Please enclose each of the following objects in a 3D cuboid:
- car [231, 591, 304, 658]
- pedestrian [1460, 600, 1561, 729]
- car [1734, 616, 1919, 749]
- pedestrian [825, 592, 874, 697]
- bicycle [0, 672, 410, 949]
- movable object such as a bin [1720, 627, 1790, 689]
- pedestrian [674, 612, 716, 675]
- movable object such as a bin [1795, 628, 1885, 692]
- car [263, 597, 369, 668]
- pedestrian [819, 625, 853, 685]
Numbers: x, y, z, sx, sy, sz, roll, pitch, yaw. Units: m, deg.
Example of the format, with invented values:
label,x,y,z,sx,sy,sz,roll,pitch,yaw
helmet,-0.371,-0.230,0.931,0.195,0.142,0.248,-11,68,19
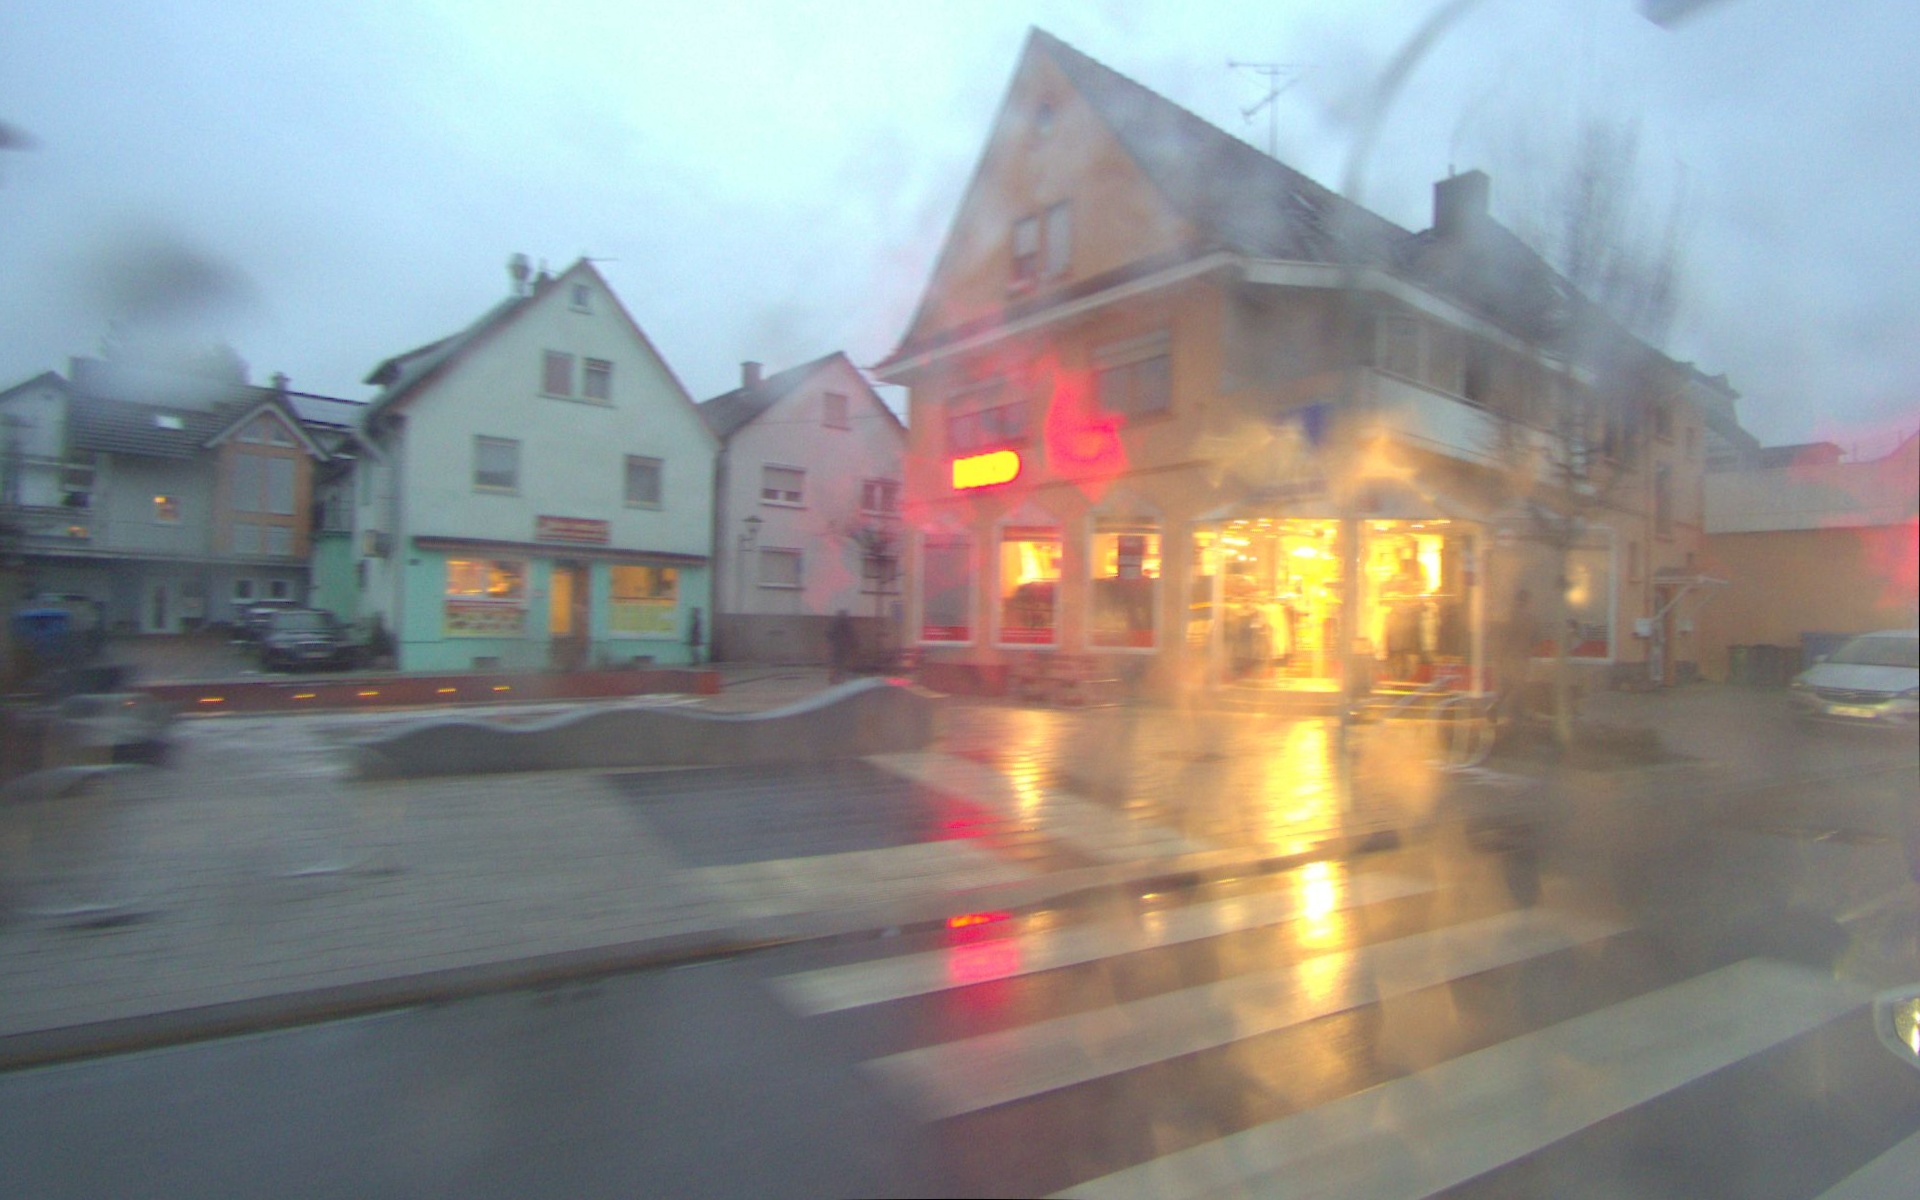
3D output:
label,x,y,z,sx,sy,sz,roll,pitch,yaw
car,-20.961,0.696,30.363,1.556,1.882,3.274,1,0,-39
pedestrian,7.594,0.862,13.860,1.087,1.680,0.820,1,1,-37
car,13.306,1.068,14.314,4.565,1.579,1.984,1,0,-30
pedestrian,-2.227,0.873,20.134,0.726,2.040,0.821,1,1,-23
bicycle,-3.697,0.948,4.902,0.321,1.075,1.734,-6,-4,43
movable object such as a bin,18.599,1.332,23.514,0.844,1.372,1.140,1,0,-40
pedestrian,-7.528,1.239,28.500,0.835,1.738,0.908,1,-3,-43
movable object such as a bin,19.511,1.331,22.283,0.881,1.371,1.330,2,-4,-39
car,-16.320,0.780,25.365,1.967,1.624,3.958,1,-1,-37
pedestrian,-2.749,1.202,22.252,0.674,1.262,0.825,1,1,-4
